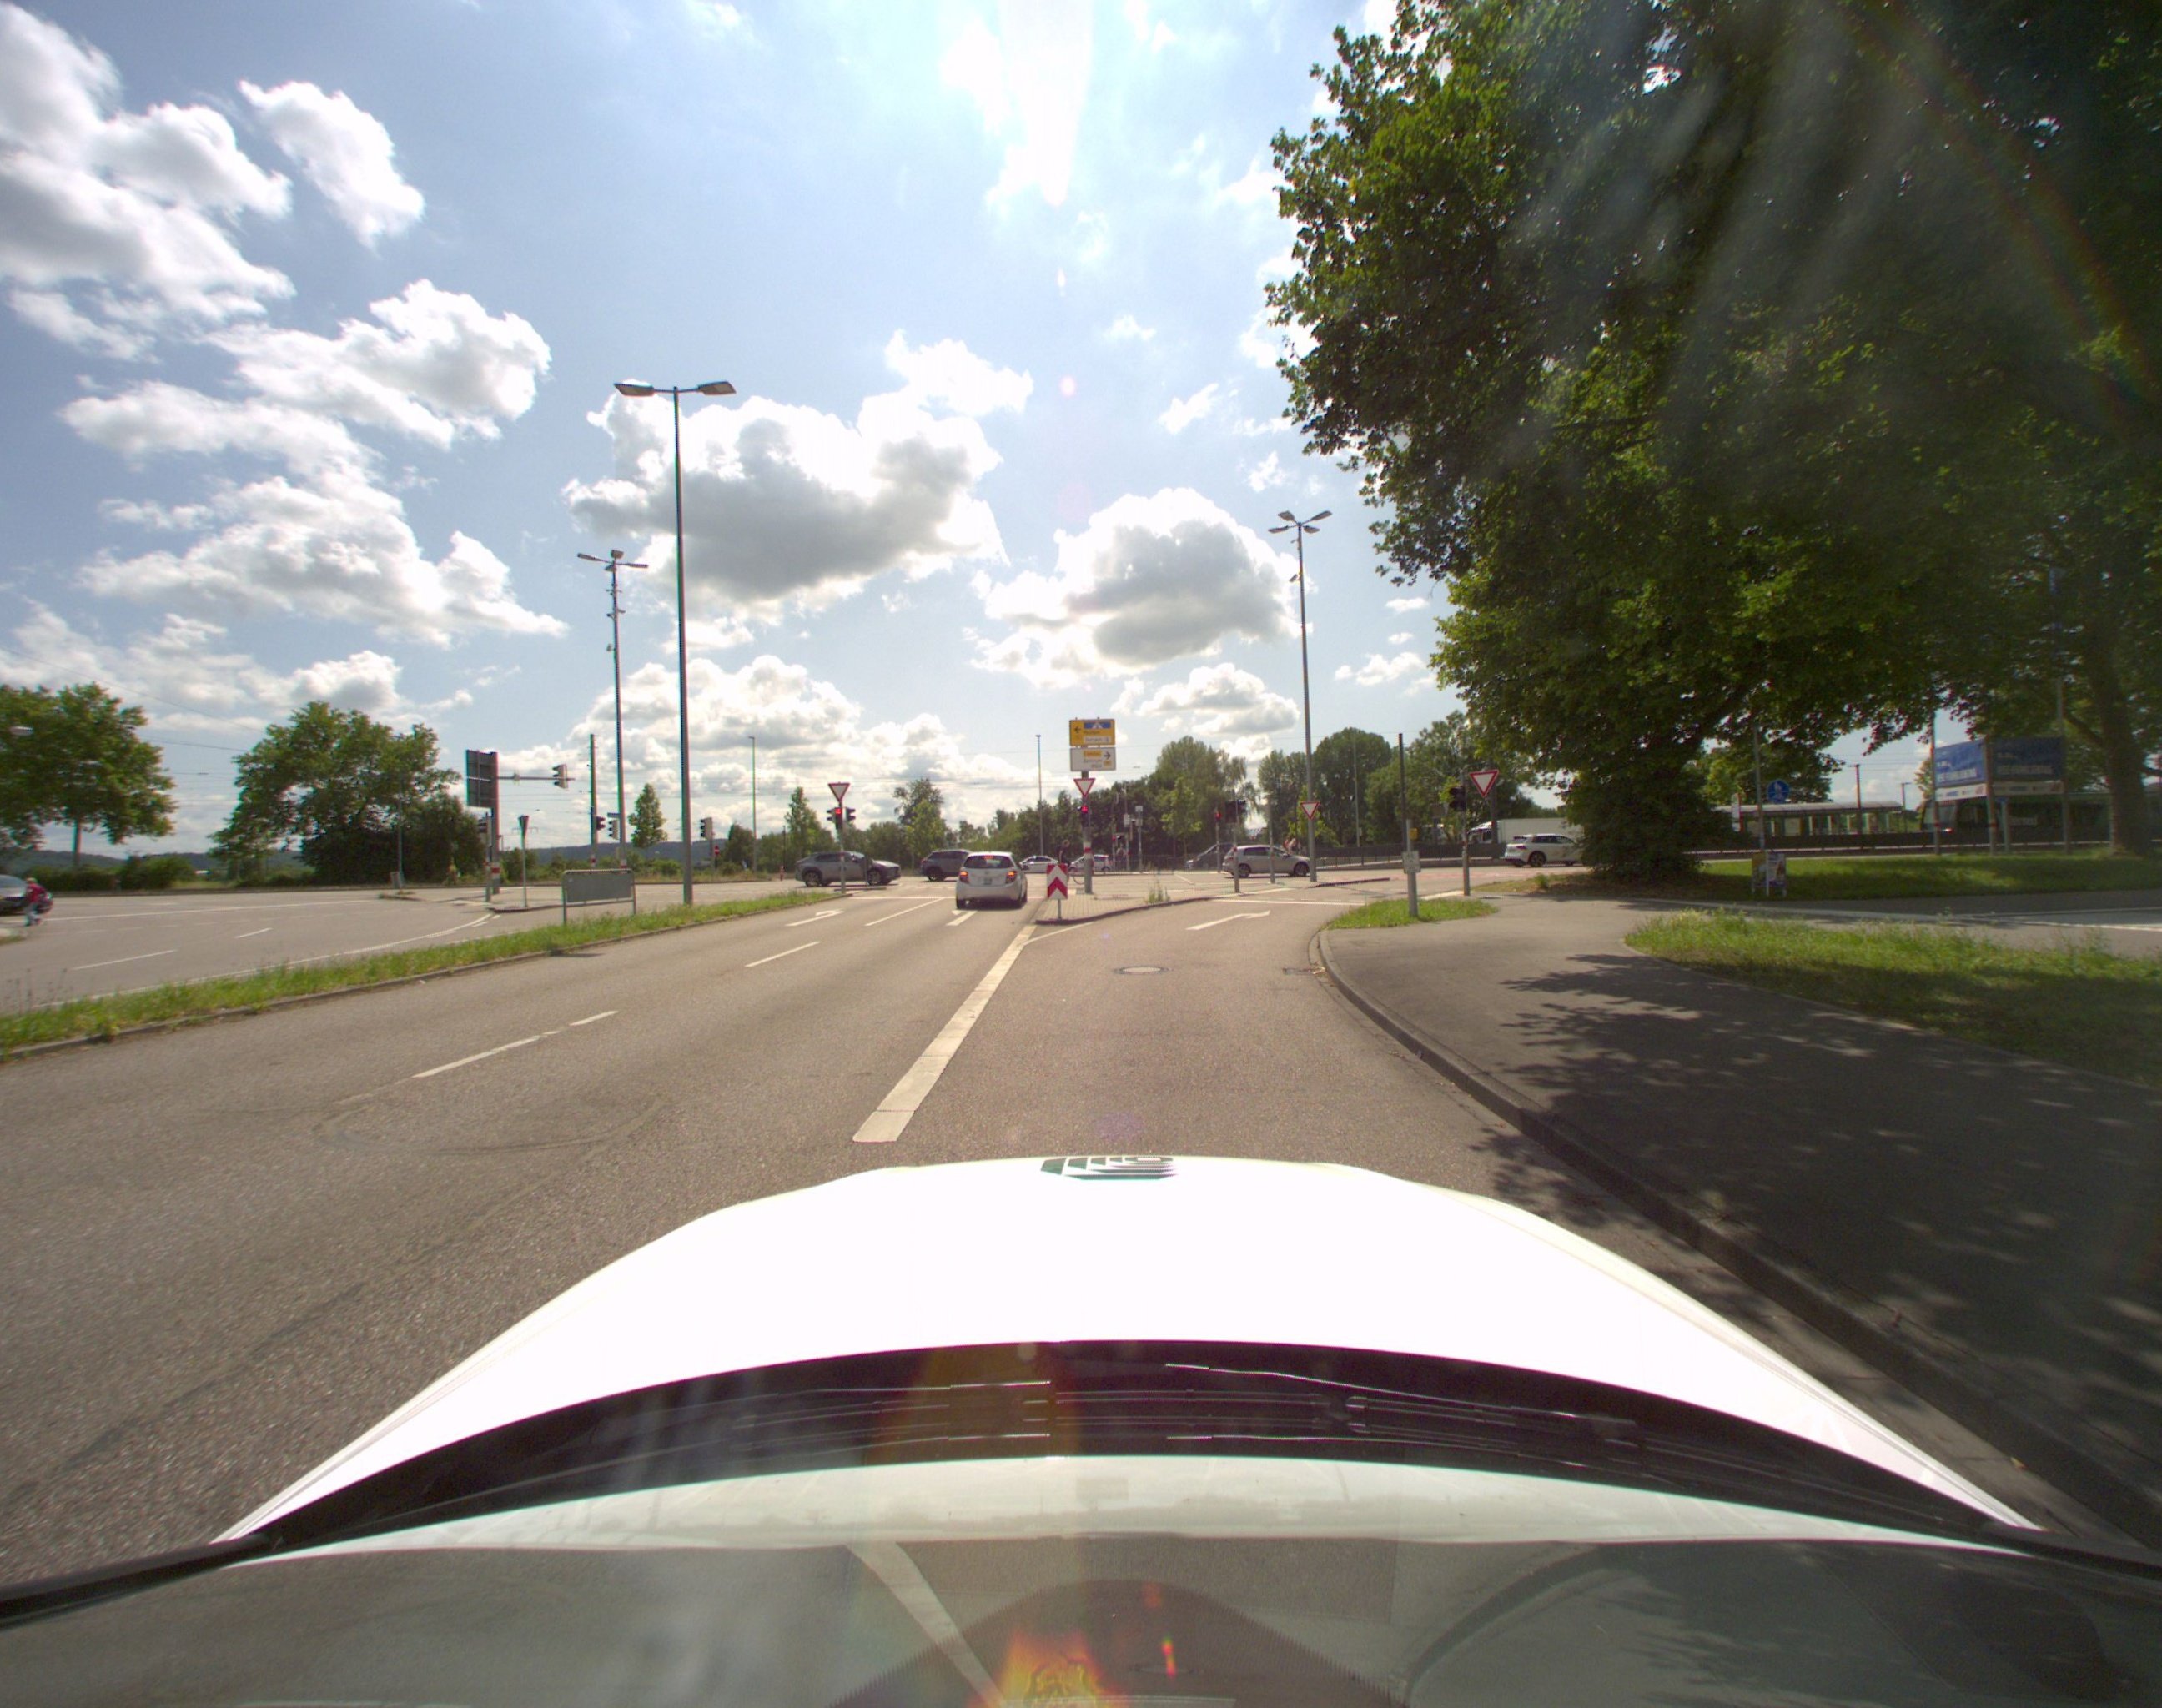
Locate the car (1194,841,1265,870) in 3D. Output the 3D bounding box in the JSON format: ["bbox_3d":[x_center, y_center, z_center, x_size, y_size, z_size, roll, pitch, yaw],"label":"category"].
[{"bbox_3d":[10.453,0.101,57.640,4.637,1.820,2.000,-2,0,-1],"label":"car"}]

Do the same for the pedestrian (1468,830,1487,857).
[{"bbox_3d":[27.083,-0.692,55.603,0.924,1.807,0.736,-2,0,-1],"label":"pedestrian"}]

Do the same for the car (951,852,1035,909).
[{"bbox_3d":[-2.385,0.685,22.997,1.887,1.470,3.834,0,0,1],"label":"car"}]

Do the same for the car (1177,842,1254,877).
[{"bbox_3d":[7.629,0.302,46.504,3.976,1.783,1.909,-3,0,-2],"label":"car"}]

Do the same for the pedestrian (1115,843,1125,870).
[{"bbox_3d":[2.583,0.161,54.413,0.609,1.769,0.672,-2,0,2],"label":"pedestrian"}]

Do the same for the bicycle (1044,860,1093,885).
[{"bbox_3d":[-0.519,0.778,34.439,2.010,0.999,0.622,-1,0,-1],"label":"bicycle"}]

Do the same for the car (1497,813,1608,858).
[{"bbox_3d":[23.513,-0.908,40.731,4.335,1.989,1.999,-2,0,-1],"label":"car"}]

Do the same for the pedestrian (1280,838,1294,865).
[{"bbox_3d":[13.676,-0.173,54.139,0.703,1.721,0.601,-3,0,2],"label":"pedestrian"}]

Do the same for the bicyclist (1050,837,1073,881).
[{"bbox_3d":[-0.823,0.204,34.448,0.918,1.846,0.611,-2,0,0],"label":"bicyclist"}]

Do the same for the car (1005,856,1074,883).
[{"bbox_3d":[-3.139,1.144,62.457,5.102,1.808,1.999,-2,0,-1],"label":"car"}]

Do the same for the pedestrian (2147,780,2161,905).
[{"bbox_3d":[18.383,-0.209,13.136,1.000,2.072,0.978,-2,-1,15],"label":"pedestrian"}]

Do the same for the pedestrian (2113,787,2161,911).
[{"bbox_3d":[17.012,-0.093,12.502,1.000,1.902,0.978,-2,-1,15],"label":"pedestrian"}]

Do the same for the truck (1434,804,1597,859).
[{"bbox_3d":[36.167,-1.864,68.042,11.917,4.104,2.952,-2,0,0],"label":"truck"}]

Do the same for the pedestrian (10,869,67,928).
[{"bbox_3d":[-33.242,1.400,25.987,0.800,1.837,0.859,1,-1,-28],"label":"pedestrian"}]

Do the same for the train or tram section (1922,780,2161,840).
[{"bbox_3d":[59.432,-2.678,49.559,14.023,3.186,3.043,-1,-1,-3],"label":"train or tram section"}]

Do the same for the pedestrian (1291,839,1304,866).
[{"bbox_3d":[14.158,-0.125,53.278,0.673,1.748,0.637,-2,1,2],"label":"pedestrian"}]

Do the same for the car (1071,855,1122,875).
[{"bbox_3d":[1.259,0.902,66.582,4.018,1.464,1.931,-2,0,-3],"label":"car"}]

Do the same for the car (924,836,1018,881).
[{"bbox_3d":[-5.414,0.237,40.637,4.335,1.989,1.999,-2,0,-1],"label":"car"}]

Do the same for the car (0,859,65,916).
[{"bbox_3d":[-40.059,1.287,29.913,3.956,2.013,2.009,-3,0,16],"label":"car"}]

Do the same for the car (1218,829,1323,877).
[{"bbox_3d":[8.685,-0.038,37.604,4.335,1.989,1.999,-2,0,-1],"label":"car"}]

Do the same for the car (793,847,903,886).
[{"bbox_3d":[-10.676,0.569,37.551,4.489,1.674,1.904,-1,0,0],"label":"car"}]

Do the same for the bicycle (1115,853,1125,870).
[{"bbox_3d":[2.592,0.491,54.447,0.616,1.087,1.723,-2,0,2],"label":"bicycle"}]
